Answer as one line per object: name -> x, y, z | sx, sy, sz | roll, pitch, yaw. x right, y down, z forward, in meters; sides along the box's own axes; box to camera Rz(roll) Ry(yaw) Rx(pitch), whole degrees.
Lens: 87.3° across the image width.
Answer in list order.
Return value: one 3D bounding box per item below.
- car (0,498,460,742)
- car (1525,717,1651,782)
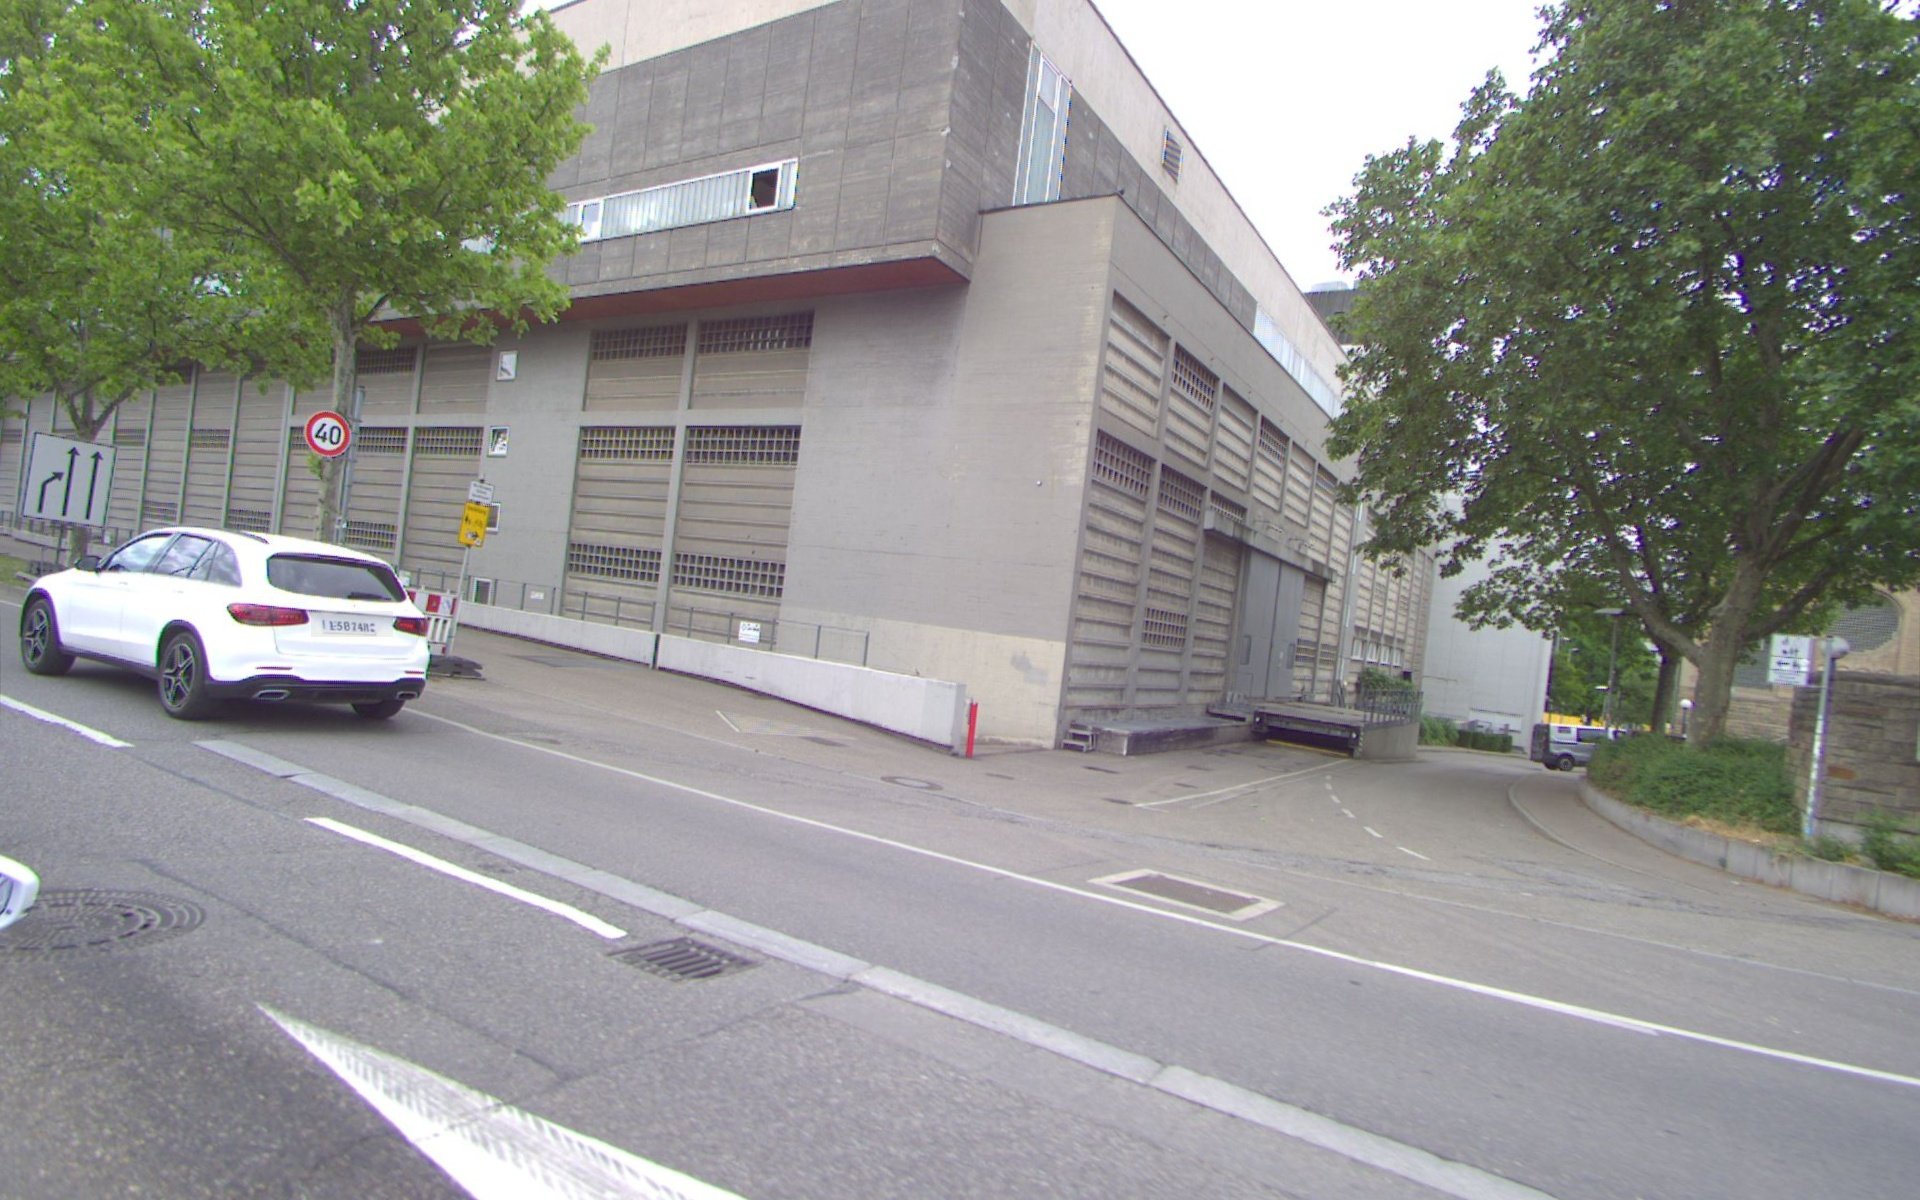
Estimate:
car -> -7.203, 0.125, 9.794 | 4.473, 1.662, 1.816 | 7, -1, 28
car -> 26.488, 6.299, 42.587 | 3.924, 2.036, 2.003 | 7, -2, 14
